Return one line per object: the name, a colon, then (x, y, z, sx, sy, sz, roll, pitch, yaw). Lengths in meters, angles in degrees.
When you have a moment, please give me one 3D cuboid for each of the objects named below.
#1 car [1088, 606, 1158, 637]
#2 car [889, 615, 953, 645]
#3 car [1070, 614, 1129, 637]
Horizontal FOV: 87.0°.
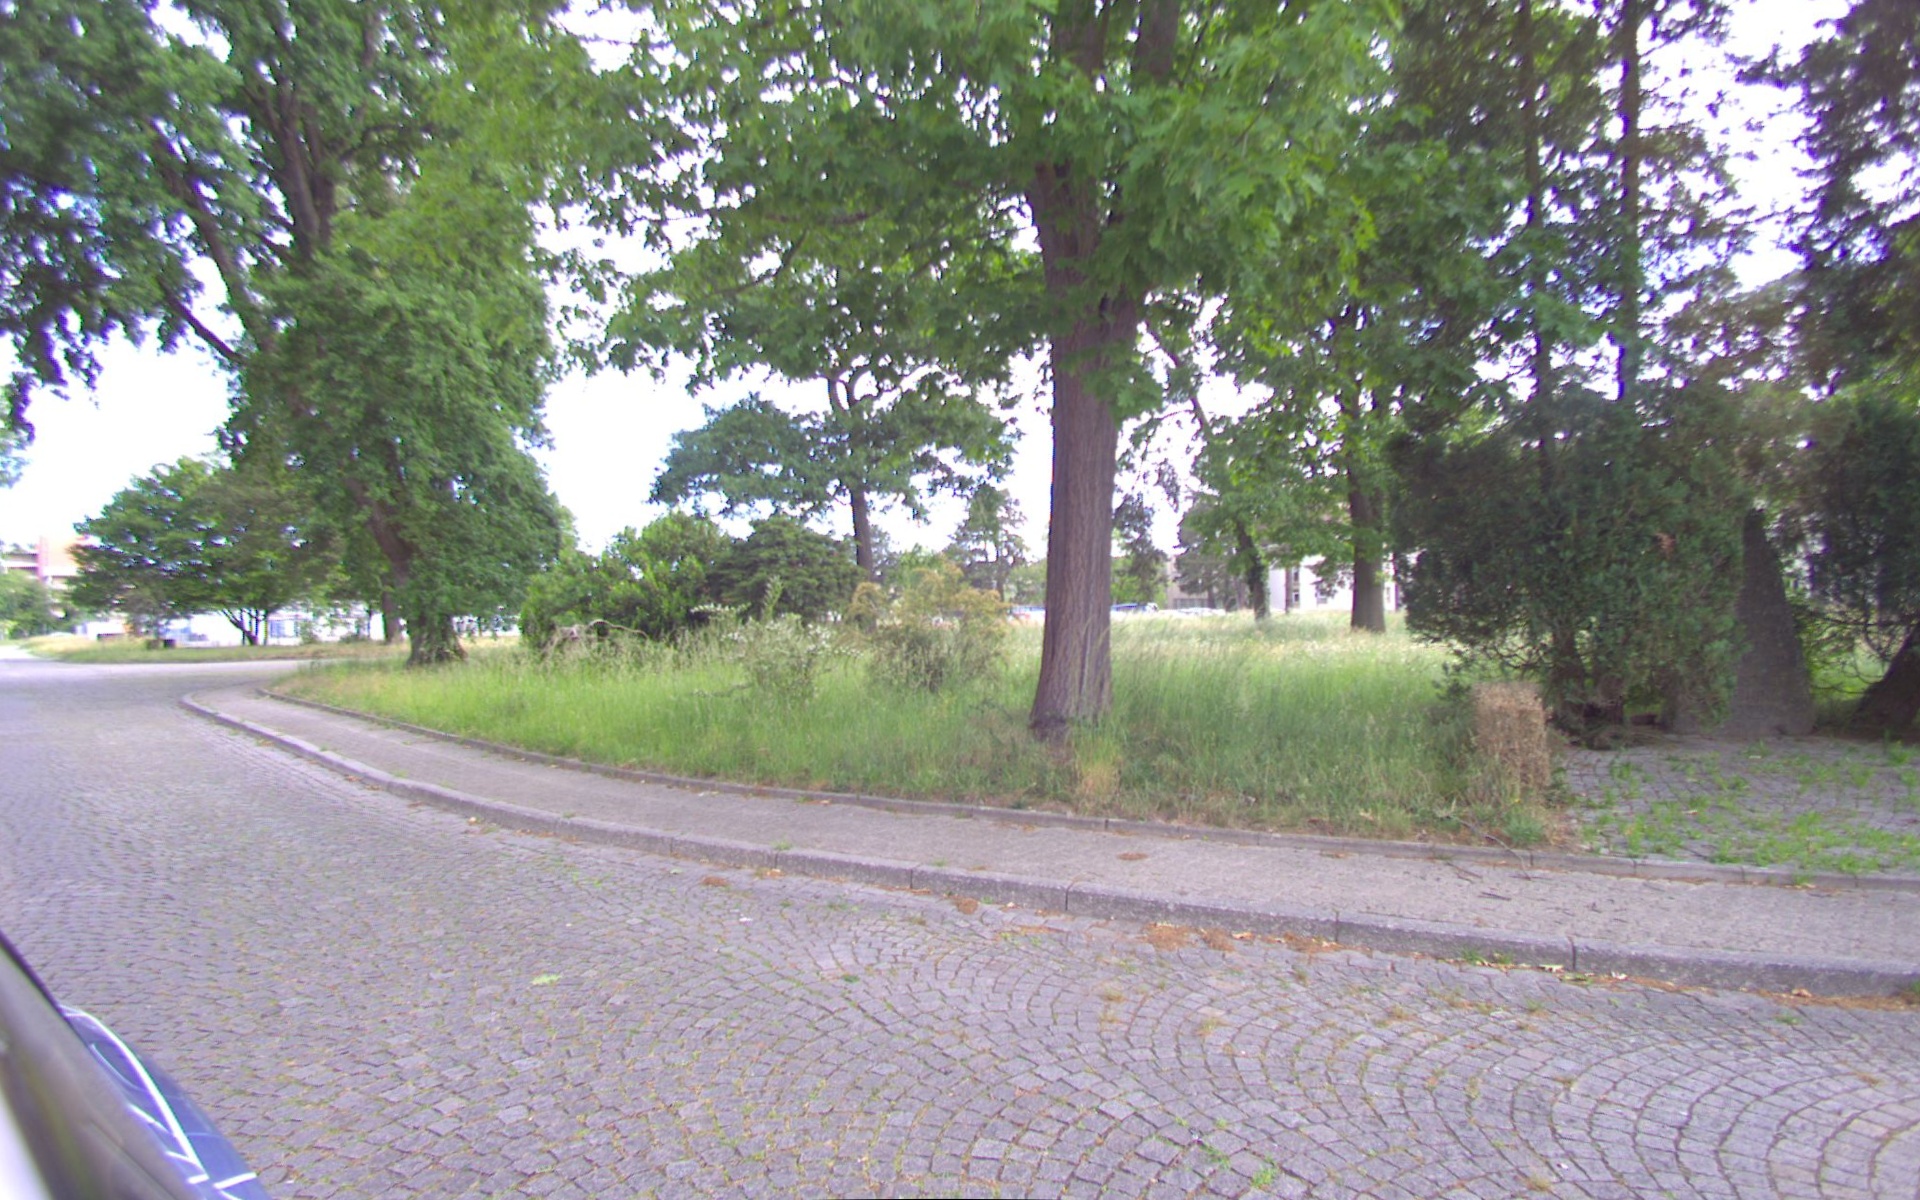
car: (11.235, 1.468, 69.910, 4.547, 1.916, 1.767, -5, -3, 45)
car: (-2.183, 1.670, 56.539, 3.501, 1.493, 1.579, -5, -3, 45)
car: (9.388, 1.743, 68.245, 3.696, 1.349, 1.561, -5, -3, 45)
